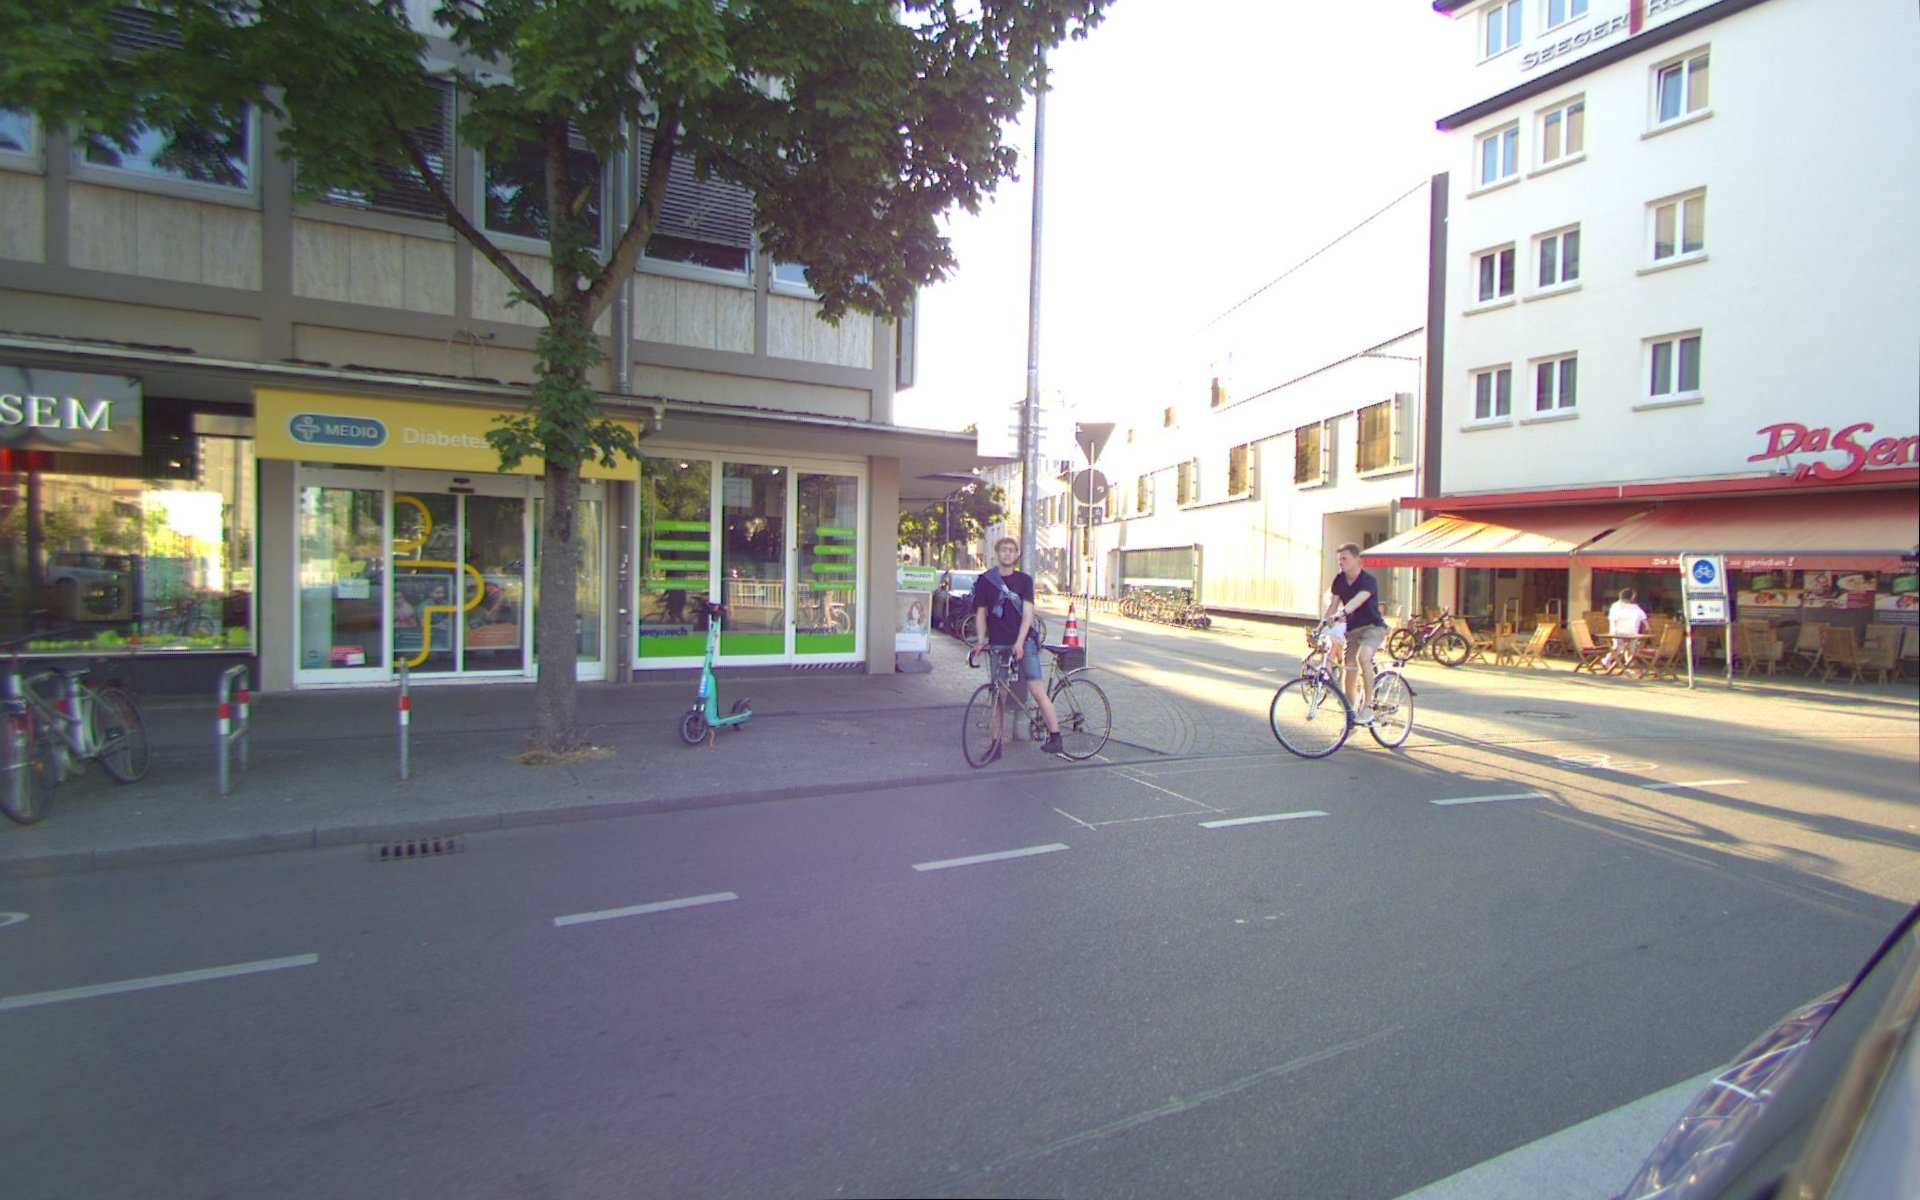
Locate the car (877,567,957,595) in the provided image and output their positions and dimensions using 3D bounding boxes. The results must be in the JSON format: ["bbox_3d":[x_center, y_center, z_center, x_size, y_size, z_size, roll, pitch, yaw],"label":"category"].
[{"bbox_3d":[-2.293,-1.014,54.163,3.934,1.449,1.996,0,2,-44],"label":"car"}]

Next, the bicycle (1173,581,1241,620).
[{"bbox_3d":[8.362,0.017,34.308,2.070,1.235,0.705,2,1,-7],"label":"bicycle"}]

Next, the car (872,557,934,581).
[{"bbox_3d":[-4.105,-2.238,72.895,3.923,1.627,2.001,0,2,-34],"label":"car"}]

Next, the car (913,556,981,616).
[{"bbox_3d":[-0.514,-0.509,33.767,1.856,1.771,4.439,2,2,-5],"label":"car"}]

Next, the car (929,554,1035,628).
[{"bbox_3d":[0.475,-0.287,26.506,1.854,1.771,4.009,1,2,-12],"label":"car"}]

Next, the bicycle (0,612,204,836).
[{"bbox_3d":[-5.604,0.683,6.416,0.654,1.124,2.008,1,2,-17],"label":"bicycle"}]

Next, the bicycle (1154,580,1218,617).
[{"bbox_3d":[8.159,-0.044,36.556,2.070,1.235,0.705,2,1,-7],"label":"bicycle"}]

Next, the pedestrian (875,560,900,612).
[{"bbox_3d":[-2.207,-0.421,30.748,0.663,1.545,0.600,2,1,-9],"label":"pedestrian"}]

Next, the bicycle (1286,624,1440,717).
[{"bbox_3d":[4.679,0.786,11.932,0.823,0.892,2.016,0,2,-6],"label":"bicycle"}]

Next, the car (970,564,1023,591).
[{"bbox_3d":[2.778,-1.714,78.437,3.921,2.039,2.002,0,0,-4],"label":"car"}]

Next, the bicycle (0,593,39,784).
[{"bbox_3d":[-6.527,0.610,6.155,0.654,1.251,1.915,1,2,-19],"label":"bicycle"}]

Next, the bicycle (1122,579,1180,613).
[{"bbox_3d":[7.488,-0.167,39.719,2.070,1.235,0.705,2,1,-7],"label":"bicycle"}]

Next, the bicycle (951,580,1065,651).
[{"bbox_3d":[0.937,0.305,20.037,2.070,1.235,0.705,4,1,-7],"label":"bicycle"}]

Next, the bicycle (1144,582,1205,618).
[{"bbox_3d":[7.931,-0.018,37.454,2.070,1.235,0.705,2,1,-7],"label":"bicycle"}]

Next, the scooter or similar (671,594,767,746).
[{"bbox_3d":[-2.155,0.589,9.173,0.333,1.250,1.274,1,1,11],"label":"scooter or similar"}]

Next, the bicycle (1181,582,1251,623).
[{"bbox_3d":[8.467,0.077,33.494,2.070,1.235,0.705,2,1,-7],"label":"bicycle"}]

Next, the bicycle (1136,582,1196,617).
[{"bbox_3d":[7.812,-0.017,38.414,2.070,1.235,0.705,2,1,-7],"label":"bicycle"}]

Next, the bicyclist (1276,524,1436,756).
[{"bbox_3d":[3.569,0.323,9.130,1.094,1.941,0.840,0,1,-35],"label":"bicyclist"}]

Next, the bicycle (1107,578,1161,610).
[{"bbox_3d":[7.346,-0.257,42.776,2.068,1.235,0.706,2,1,-15],"label":"bicycle"}]

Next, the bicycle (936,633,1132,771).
[{"bbox_3d":[0.652,0.801,8.421,1.768,0.982,0.465,0,2,-39],"label":"bicycle"}]

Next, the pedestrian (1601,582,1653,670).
[{"bbox_3d":[12.142,0.456,18.430,0.562,1.560,0.573,0,1,-28],"label":"pedestrian"}]

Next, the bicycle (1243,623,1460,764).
[{"bbox_3d":[3.555,0.780,9.129,2.038,1.032,0.840,-1,3,-36],"label":"bicycle"}]

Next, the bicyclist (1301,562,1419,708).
[{"bbox_3d":[4.701,0.379,11.965,0.823,1.643,1.116,1,1,-6],"label":"bicyclist"}]

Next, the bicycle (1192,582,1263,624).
[{"bbox_3d":[8.618,0.099,32.622,2.070,1.235,0.705,2,1,-7],"label":"bicycle"}]

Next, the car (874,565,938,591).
[{"bbox_3d":[-3.732,-1.509,70.340,3.923,1.731,2.001,0,2,-34],"label":"car"}]

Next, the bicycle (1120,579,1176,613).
[{"bbox_3d":[7.515,-0.158,40.491,2.070,1.235,0.705,2,1,-7],"label":"bicycle"}]

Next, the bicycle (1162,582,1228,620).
[{"bbox_3d":[8.238,0.026,35.485,2.070,1.235,0.705,2,1,-7],"label":"bicycle"}]

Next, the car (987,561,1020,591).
[{"bbox_3d":[3.048,-1.656,71.355,1.961,2.039,4.260,0,0,-2],"label":"car"}]

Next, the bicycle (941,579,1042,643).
[{"bbox_3d":[0.694,0.237,22.390,2.070,1.235,0.705,4,1,-7],"label":"bicycle"}]

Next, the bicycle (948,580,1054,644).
[{"bbox_3d":[0.841,0.243,21.151,2.070,1.235,0.705,2,1,-7],"label":"bicycle"}]

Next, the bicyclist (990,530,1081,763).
[{"bbox_3d":[0.627,0.364,8.381,0.549,1.853,0.466,0,1,-38],"label":"bicyclist"}]

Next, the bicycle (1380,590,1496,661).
[{"bbox_3d":[9.624,0.489,20.485,0.690,1.303,2.117,0,2,-27],"label":"bicycle"}]
